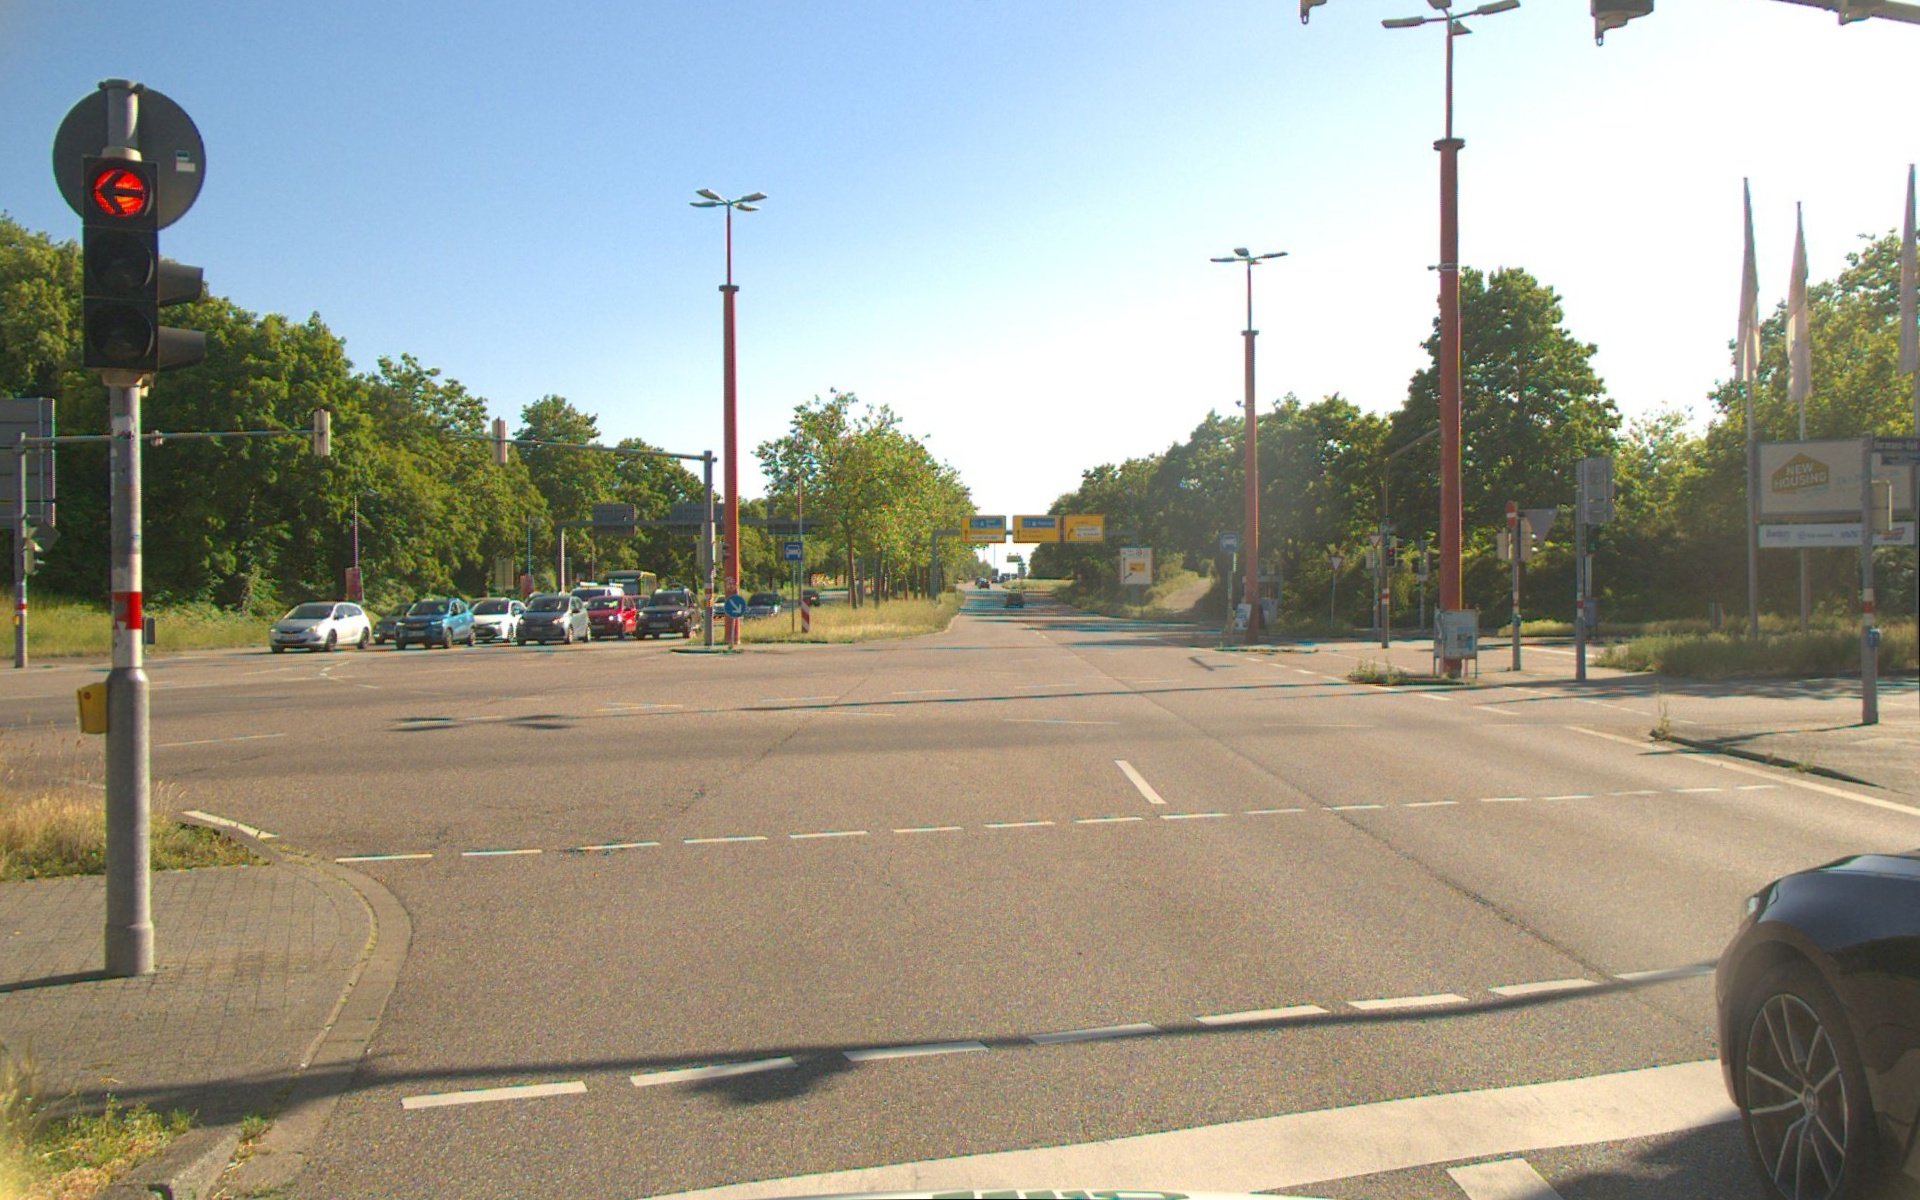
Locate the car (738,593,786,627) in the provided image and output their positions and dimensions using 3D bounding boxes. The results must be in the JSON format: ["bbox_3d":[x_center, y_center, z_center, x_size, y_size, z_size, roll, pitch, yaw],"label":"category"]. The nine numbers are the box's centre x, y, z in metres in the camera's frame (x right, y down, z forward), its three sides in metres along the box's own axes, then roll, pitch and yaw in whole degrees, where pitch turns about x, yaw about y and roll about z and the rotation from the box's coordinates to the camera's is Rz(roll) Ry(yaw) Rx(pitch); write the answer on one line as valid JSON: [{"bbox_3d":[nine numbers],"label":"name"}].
[{"bbox_3d":[-9.626,0.449,80.682,1.847,1.570,3.999,-2,0,-1],"label":"car"}]

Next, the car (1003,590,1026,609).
[{"bbox_3d":[5.209,-0.022,157.417,1.953,1.764,3.999,1,0,-1],"label":"car"}]

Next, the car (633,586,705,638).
[{"bbox_3d":[-9.839,0.393,56.204,1.757,1.654,4.142,-2,0,-2],"label":"car"}]

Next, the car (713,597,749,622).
[{"bbox_3d":[-15.229,0.599,110.124,1.847,1.570,3.999,-2,0,-1],"label":"car"}]

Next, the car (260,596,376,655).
[{"bbox_3d":[-19.543,0.746,50.534,1.838,1.681,4.219,-1,0,0],"label":"car"}]

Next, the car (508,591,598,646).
[{"bbox_3d":[-12.770,0.559,52.081,1.836,1.577,4.027,-2,1,-1],"label":"car"}]

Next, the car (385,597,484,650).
[{"bbox_3d":[-16.104,0.691,50.869,1.764,1.542,3.858,-2,0,0],"label":"car"}]

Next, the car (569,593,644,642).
[{"bbox_3d":[-12.446,0.591,58.423,1.838,1.579,3.998,-3,0,-2],"label":"car"}]

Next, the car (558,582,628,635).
[{"bbox_3d":[-15.621,0.340,70.580,1.922,2.193,5.080,-1,0,-1],"label":"car"}]

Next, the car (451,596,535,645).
[{"bbox_3d":[-16.032,0.672,57.021,1.863,1.582,3.998,-1,0,-2],"label":"car"}]

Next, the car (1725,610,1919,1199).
[{"bbox_3d":[2.894,0.766,2.301,1.727,1.466,4.295,1,0,1],"label":"car"}]

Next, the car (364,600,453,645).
[{"bbox_3d":[-19.889,0.784,59.787,1.846,1.539,4.000,-1,0,0],"label":"car"}]

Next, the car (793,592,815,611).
[{"bbox_3d":[-15.202,0.118,161.644,1.800,1.869,3.960,0,0,-1],"label":"car"}]

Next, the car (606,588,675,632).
[{"bbox_3d":[-12.406,0.375,64.424,1.862,1.658,4.000,0,0,1],"label":"car"}]
